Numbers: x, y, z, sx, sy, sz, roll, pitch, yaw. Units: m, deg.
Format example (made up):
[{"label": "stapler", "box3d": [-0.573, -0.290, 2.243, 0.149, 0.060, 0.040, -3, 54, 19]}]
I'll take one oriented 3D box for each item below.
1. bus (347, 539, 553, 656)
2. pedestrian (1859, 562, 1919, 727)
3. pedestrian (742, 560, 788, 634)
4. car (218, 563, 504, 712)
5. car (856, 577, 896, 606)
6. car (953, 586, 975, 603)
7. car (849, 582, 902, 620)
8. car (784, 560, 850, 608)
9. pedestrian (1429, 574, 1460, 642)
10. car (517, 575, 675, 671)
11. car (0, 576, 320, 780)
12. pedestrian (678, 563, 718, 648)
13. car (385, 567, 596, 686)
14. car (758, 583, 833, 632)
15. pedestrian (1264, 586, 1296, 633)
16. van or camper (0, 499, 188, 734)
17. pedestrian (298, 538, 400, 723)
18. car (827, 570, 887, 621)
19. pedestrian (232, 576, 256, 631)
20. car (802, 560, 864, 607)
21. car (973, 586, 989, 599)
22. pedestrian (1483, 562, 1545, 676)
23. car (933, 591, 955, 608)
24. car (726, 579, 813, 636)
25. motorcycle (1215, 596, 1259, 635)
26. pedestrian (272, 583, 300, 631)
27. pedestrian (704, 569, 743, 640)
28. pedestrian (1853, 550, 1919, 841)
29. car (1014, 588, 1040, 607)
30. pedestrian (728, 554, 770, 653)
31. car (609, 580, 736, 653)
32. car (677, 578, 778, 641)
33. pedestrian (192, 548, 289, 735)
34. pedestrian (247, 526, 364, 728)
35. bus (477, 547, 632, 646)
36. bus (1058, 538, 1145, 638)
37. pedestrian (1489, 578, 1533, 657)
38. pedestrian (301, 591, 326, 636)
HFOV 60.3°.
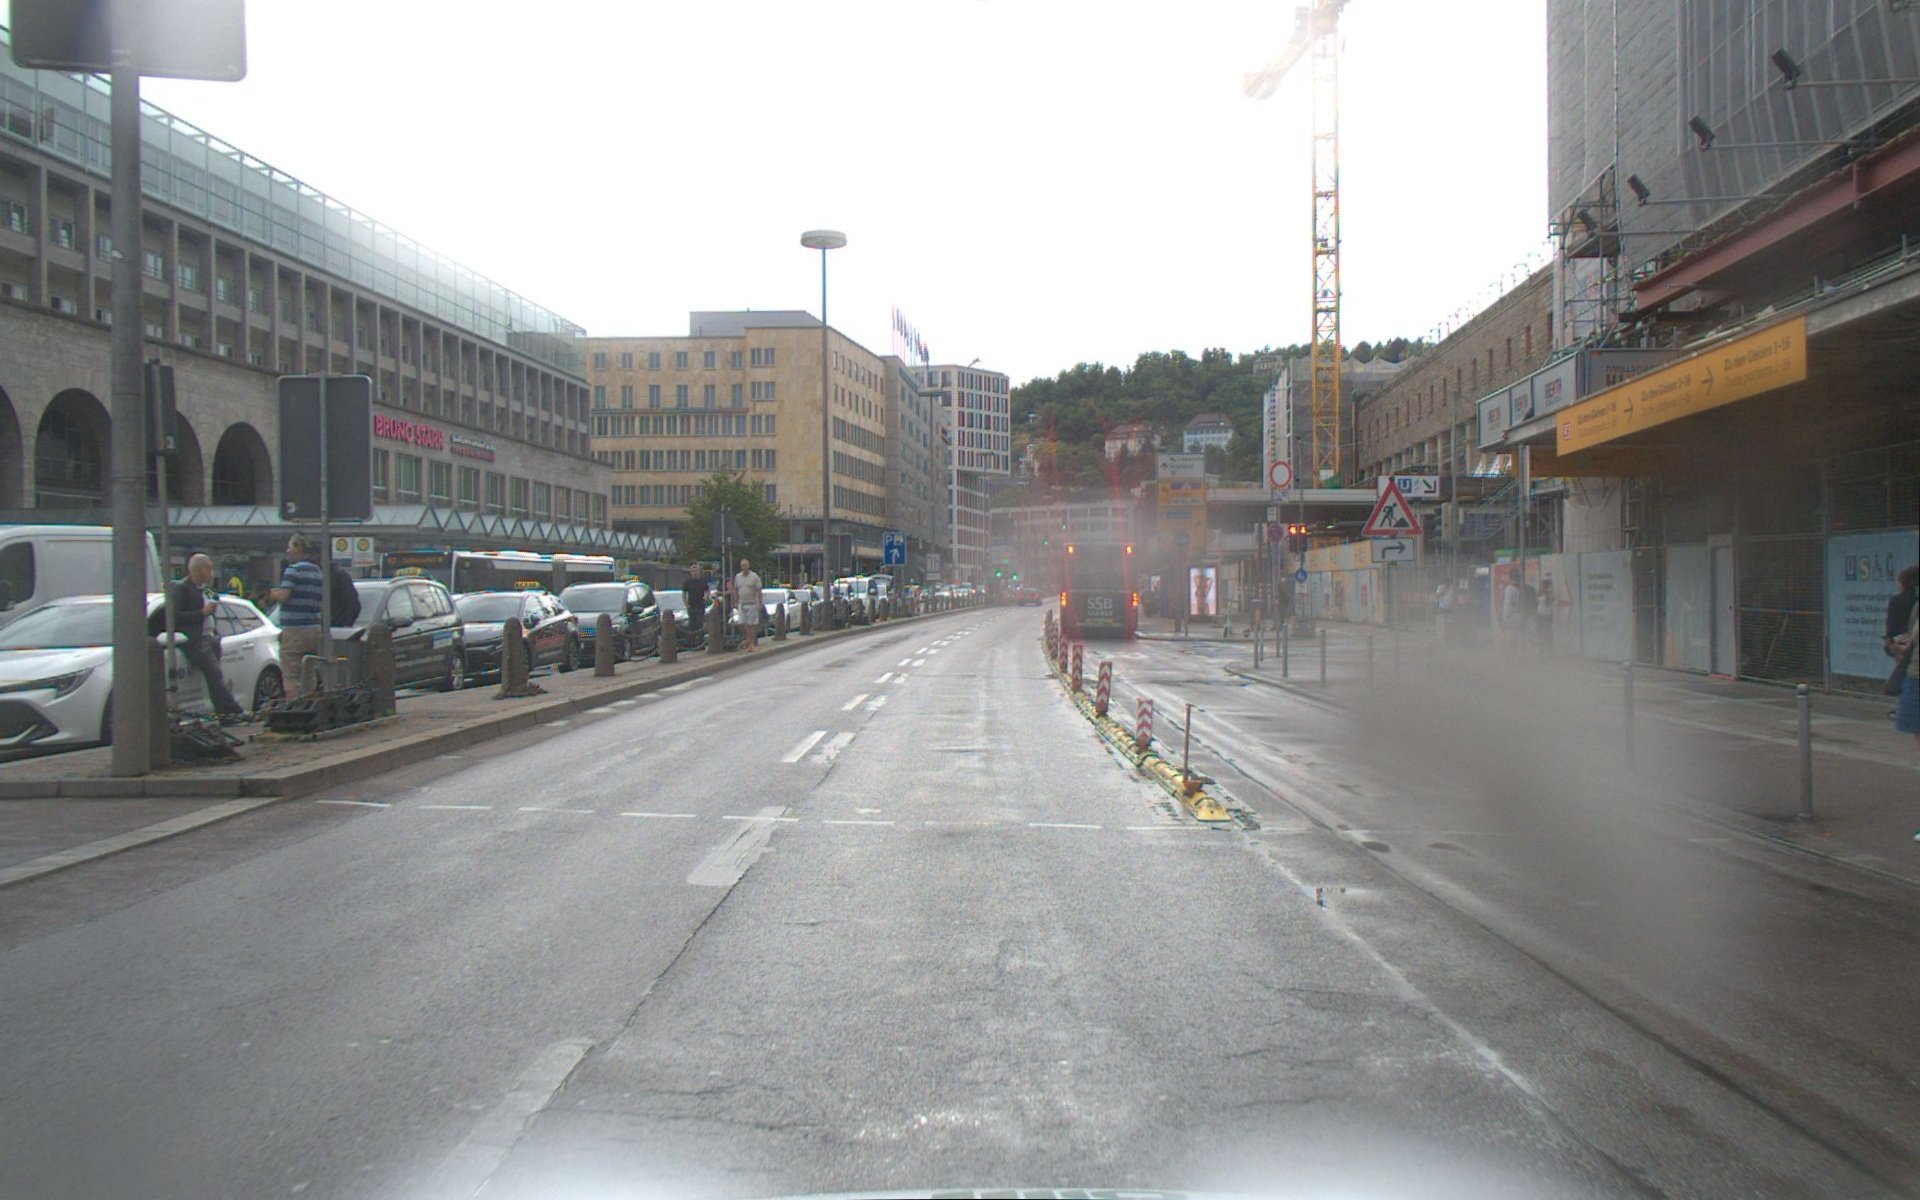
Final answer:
[{"label": "bus", "box3d": [-16.295, -0.128, 53.916, 2.817, 3.435, 10.580, 0, 1, 4]}, {"label": "pedestrian", "box3d": [10.017, 0.447, 17.404, 0.538, 1.660, 0.996, -3, 0, 3]}, {"label": "pedestrian", "box3d": [-4.777, -0.066, 40.545, 1.028, 1.799, 0.617, 0, 0, 2]}, {"label": "car", "box3d": [-7.818, 0.441, 22.135, 1.889, 1.720, 4.684, -2, 0, 3]}, {"label": "car", "box3d": [-4.723, -0.472, 93.341, 1.952, 1.579, 4.001, -1, 0, 1]}, {"label": "car", "box3d": [0.454, -0.570, 171.478, 1.921, 1.591, 4.838, -3, 1, 4]}, {"label": "car", "box3d": [-4.090, 0.021, 80.862, 1.951, 1.752, 4.785, -1, 1, 5]}, {"label": "car", "box3d": [-5.555, -0.616, 64.747, 1.889, 1.728, 4.887, -2, 0, 2]}, {"label": "pedestrian", "box3d": [13.817, 0.228, 47.140, 0.631, 1.879, 0.659, -3, 0, 3]}, {"label": "car", "box3d": [-7.161, 0.411, 33.065, 1.889, 1.720, 4.684, -2, 0, 3]}, {"label": "car", "box3d": [-8.124, 0.607, 15.921, 1.973, 1.649, 4.843, 0, 1, 1]}, {"label": "pedestrian", "box3d": [-5.522, 0.109, 34.863, 0.684, 1.785, 0.712, 0, 1, 3]}, {"label": "car", "box3d": [-7.563, 0.381, 27.148, 1.889, 1.720, 4.684, -2, 0, 3]}, {"label": "car", "box3d": [-5.774, 0.236, 58.520, 1.889, 1.604, 5.054, -2, 0, 2]}, {"label": "pedestrian", "box3d": [11.436, 0.330, 59.133, 0.890, 1.664, 0.826, 0, 0, 31]}, {"label": "van or camper", "box3d": [-11.393, 0.209, 19.340, 1.952, 2.558, 5.372, -3, 1, 2]}, {"label": "pedestrian", "box3d": [-6.186, 0.300, 16.780, 0.767, 1.806, 0.605, -3, 0, -9]}, {"label": "car", "box3d": [-4.665, -0.215, 75.477, 1.951, 2.216, 5.547, -1, 1, 4]}, {"label": "pedestrian", "box3d": [-20.422, 0.094, 47.161, 0.576, 1.533, 0.621, 1, 1, -26]}, {"label": "car", "box3d": [-5.299, -0.691, 69.749, 1.889, 1.838, 4.585, -2, 0, 4]}, {"label": "car", "box3d": [2.828, -1.035, 222.358, 1.921, 1.591, 4.838, -3, 1, 4]}, {"label": "pedestrian", "box3d": [9.386, 0.313, 28.043, 0.708, 1.879, 0.810, -3, 0, 3]}, {"label": "car", "box3d": [-1.743, -0.075, 179.719, 1.921, 1.591, 4.838, -3, 1, 4]}, {"label": "car", "box3d": [-5.999, 0.217, 52.732, 1.935, 1.688, 5.194, -2, 0, 2]}, {"label": "motorcycle", "box3d": [8.589, 0.474, 51.300, 0.576, 1.186, 1.607, 1, 0, 42]}, {"label": "pedestrian", "box3d": [-20.236, 0.203, 49.654, 0.696, 1.417, 0.698, 1, 1, -26]}, {"label": "pedestrian", "box3d": [-5.558, 0.094, 38.884, 0.707, 1.634, 0.996, 1, 1, 3]}, {"label": "pedestrian", "box3d": [6.133, 0.580, 10.349, 0.548, 1.789, 0.750, -3, 0, -10]}, {"label": "car", "box3d": [5.708, -0.250, 140.570, 1.951, 1.579, 4.002, -1, 0, 5]}, {"label": "pedestrian", "box3d": [-4.433, 0.071, 34.776, 0.708, 2.042, 0.773, 1, 1, 3]}, {"label": "car", "box3d": [-6.865, 0.364, 40.084, 1.889, 1.604, 5.263, -2, 0, 3]}, {"label": "car", "box3d": [-6.467, 0.235, 46.593, 1.889, 1.604, 5.014, -2, 0, 2]}, {"label": "pedestrian", "box3d": [-6.887, 0.384, 15.847, 0.637, 1.741, 0.593, 1, 1, 1]}, {"label": "pedestrian", "box3d": [-6.056, 0.240, 15.313, 0.549, 1.806, 0.749, -3, 0, 37]}, {"label": "bus", "box3d": [-15.538, -0.199, 64.407, 2.817, 3.520, 10.580, 0, 1, 4]}, {"label": "bus", "box3d": [4.794, -0.404, 57.060, 2.697, 3.122, 9.084, 1, 0, 4]}, {"label": "pedestrian", "box3d": [11.228, 0.342, 33.740, 0.637, 1.566, 0.665, -3, 0, 4]}, {"label": "pedestrian", "box3d": [-20.617, 0.421, 52.741, 0.696, 1.417, 0.698, 1, 1, -26]}]
